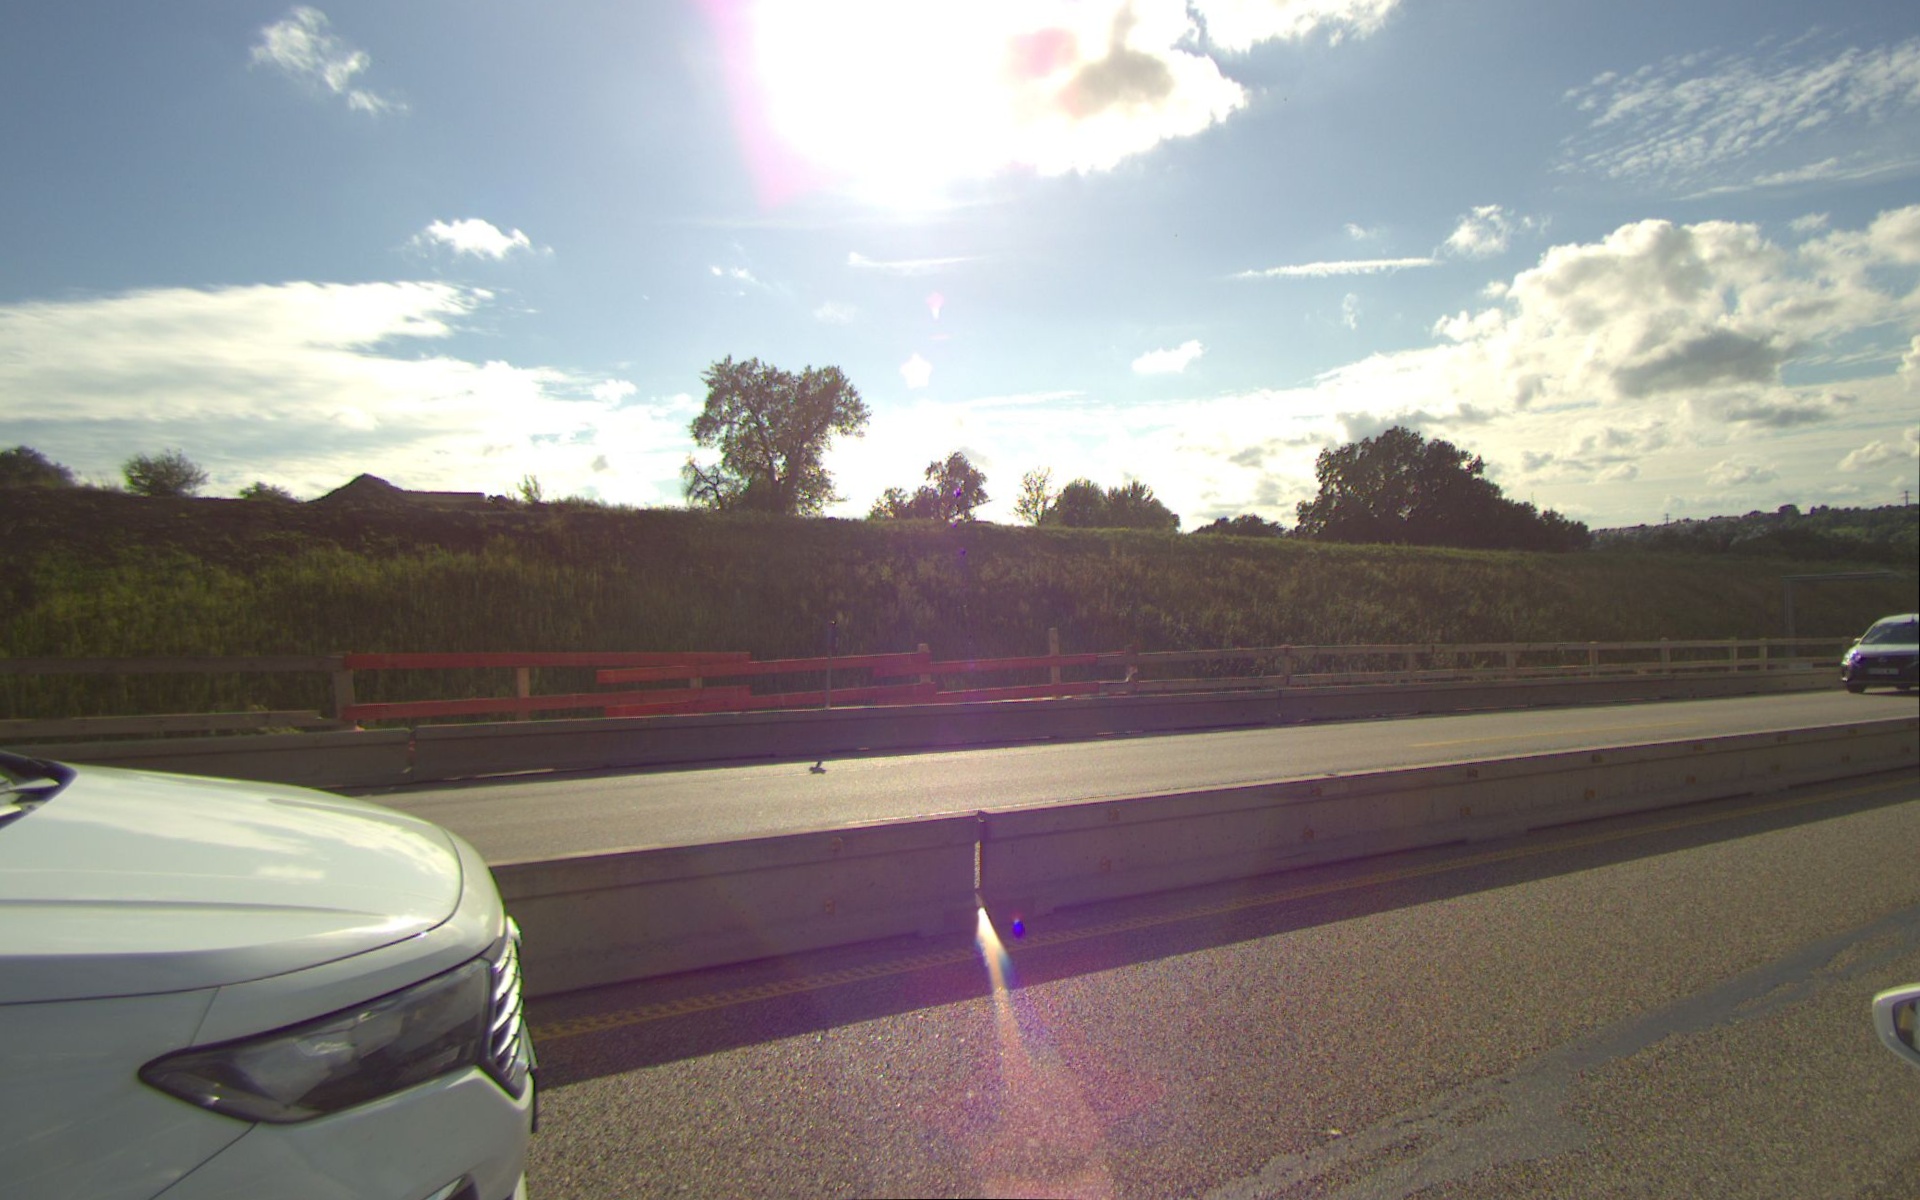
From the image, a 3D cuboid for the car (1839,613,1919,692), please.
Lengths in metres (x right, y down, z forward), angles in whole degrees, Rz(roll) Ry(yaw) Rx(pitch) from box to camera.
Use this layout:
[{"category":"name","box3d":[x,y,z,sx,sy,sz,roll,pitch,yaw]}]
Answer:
[{"category":"car","box3d":[21.975,1.166,22.891,4.170,1.681,1.725,0,-3,-32]}]

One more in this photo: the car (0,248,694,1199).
[{"category":"car","box3d":[-2.763,0.496,1.232,4.403,1.848,1.814,1,1,-30]}]
